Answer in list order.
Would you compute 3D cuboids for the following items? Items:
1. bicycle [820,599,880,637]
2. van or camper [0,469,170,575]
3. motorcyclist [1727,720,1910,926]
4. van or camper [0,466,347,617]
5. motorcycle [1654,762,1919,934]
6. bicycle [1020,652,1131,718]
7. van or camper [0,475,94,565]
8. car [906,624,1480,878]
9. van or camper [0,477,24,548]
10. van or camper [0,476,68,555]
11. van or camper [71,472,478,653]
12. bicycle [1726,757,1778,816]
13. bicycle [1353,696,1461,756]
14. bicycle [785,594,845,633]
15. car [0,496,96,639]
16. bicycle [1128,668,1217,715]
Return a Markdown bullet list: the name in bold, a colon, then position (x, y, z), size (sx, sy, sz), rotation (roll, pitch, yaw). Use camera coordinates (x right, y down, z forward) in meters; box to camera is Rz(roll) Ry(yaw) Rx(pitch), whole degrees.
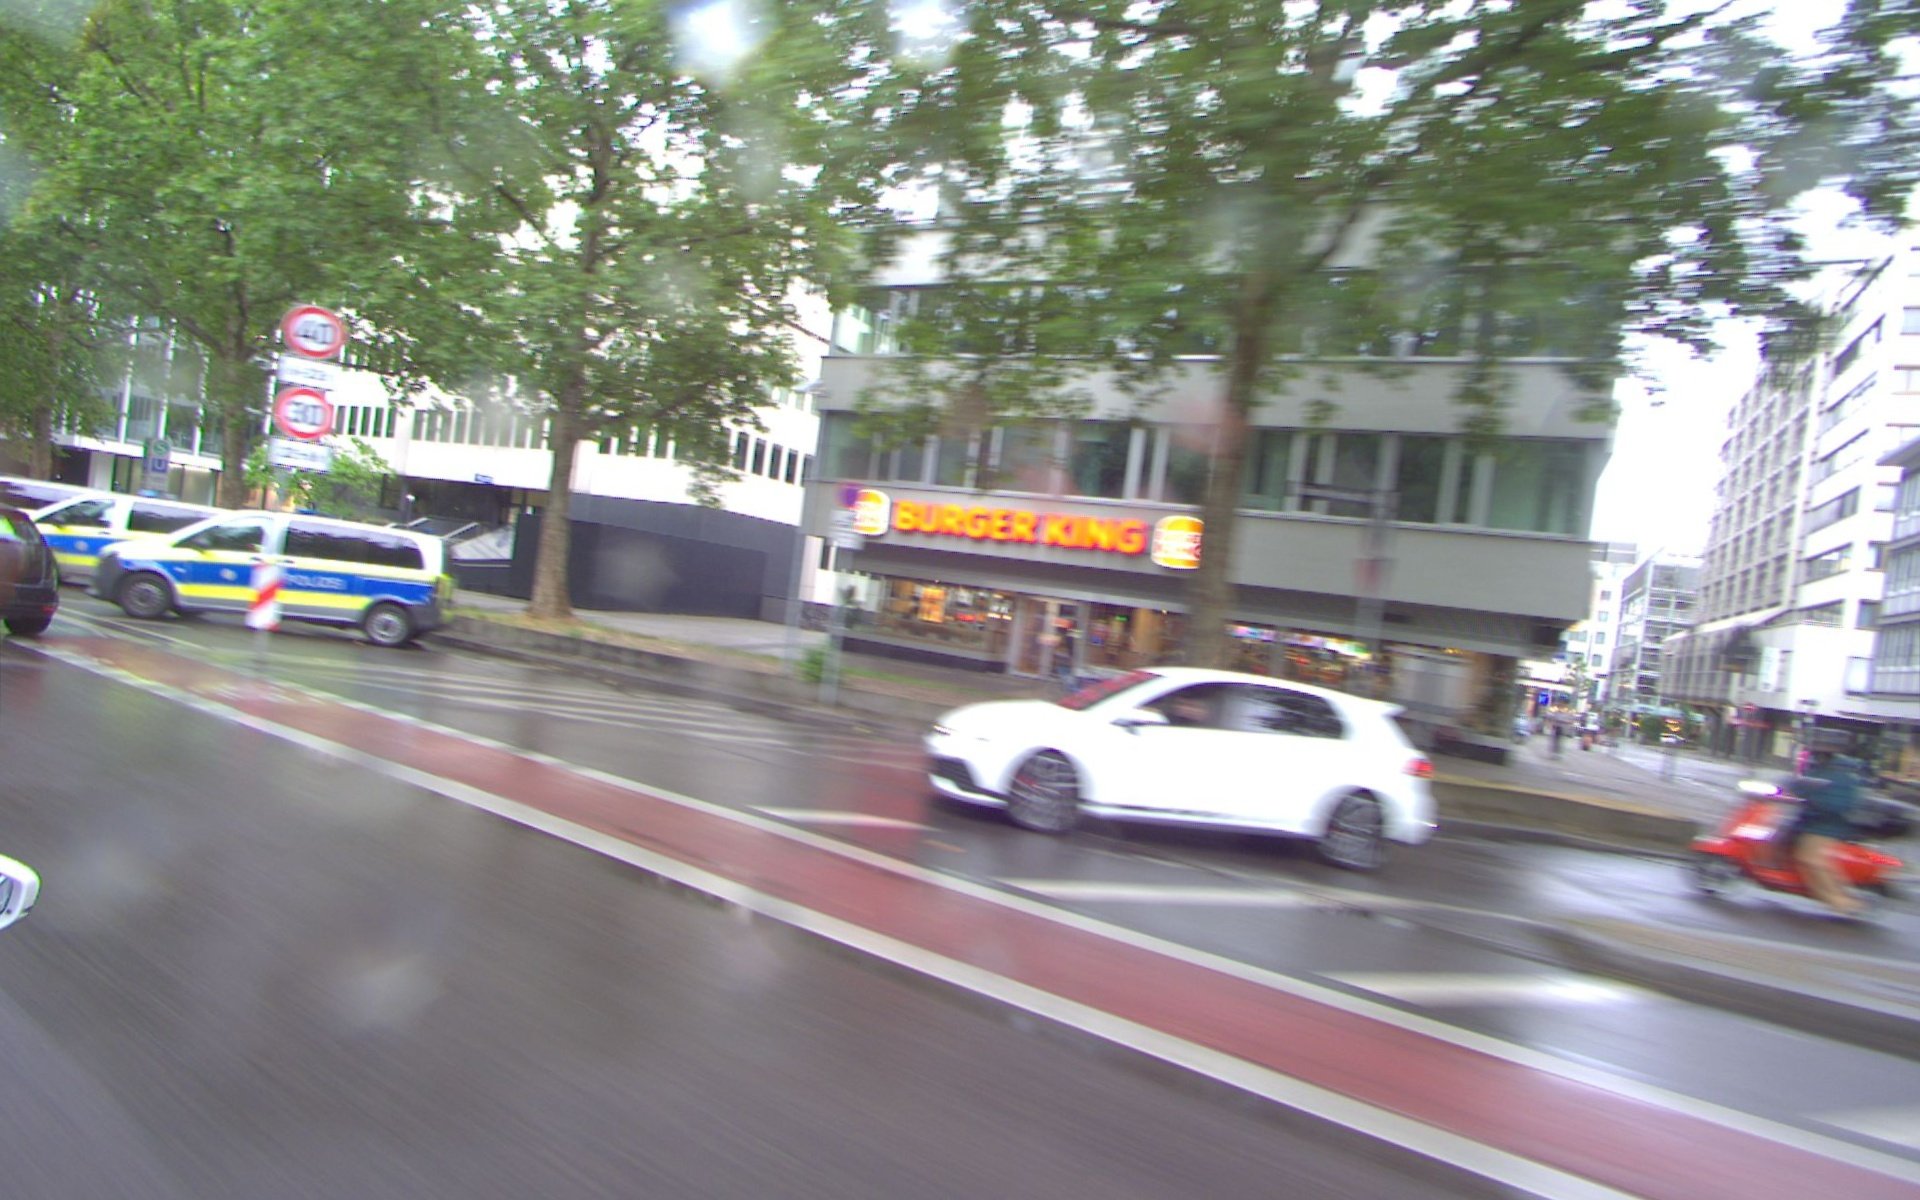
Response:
- **bicycle**: position (-4.335, 0.709, 39.658), size (2.248, 1.187, 0.688), rotation (7, -1, 29)
- **van or camper**: position (-21.763, -1.918, 23.409), size (4.790, 2.022, 1.858), rotation (8, -1, -22)
- **motorcyclist**: position (8.021, 2.046, 9.455), size (0.855, 1.664, 0.850), rotation (7, 0, 13)
- **van or camper**: position (-15.389, -1.059, 19.974), size (5.023, 2.042, 1.987), rotation (9, -2, -22)
- **motorcycle**: position (7.923, 2.302, 9.474), size (1.983, 1.156, 0.869), rotation (7, 0, 14)
- **bicycle**: position (2.170, 1.590, 18.944), size (1.880, 0.934, 0.642), rotation (7, 0, 29)
- **van or camper**: position (-25.174, -2.246, 25.163), size (4.732, 2.034, 1.990), rotation (8, -1, -23)
- **car**: position (1.871, 1.253, 8.861), size (4.432, 1.462, 1.866), rotation (8, -1, -7)
- **van or camper**: position (-30.817, -2.928, 29.001), size (5.038, 2.049, 2.096), rotation (8, 0, -21)
- **van or camper**: position (-27.713, -2.563, 27.115), size (4.964, 2.019, 1.987), rotation (8, -1, -26)
- **van or camper**: position (-10.668, -0.506, 16.196), size (4.880, 2.015, 1.994), rotation (8, -1, -21)
- **bicycle**: position (15.833, 3.708, 20.144), size (0.615, 0.948, 1.968), rotation (7, -1, 35)
- **bicycle**: position (9.929, 2.781, 22.379), size (2.041, 0.907, 0.583), rotation (9, 3, 29)
- **bicycle**: position (-5.567, 0.518, 38.597), size (2.249, 1.187, 0.687), rotation (7, 0, 31)
- **car**: position (-11.636, -0.558, 10.898), size (3.927, 1.430, 1.770), rotation (7, 0, 22)
- **bicycle**: position (4.985, 2.134, 23.578), size (1.878, 0.829, 0.643), rotation (7, 0, 23)
